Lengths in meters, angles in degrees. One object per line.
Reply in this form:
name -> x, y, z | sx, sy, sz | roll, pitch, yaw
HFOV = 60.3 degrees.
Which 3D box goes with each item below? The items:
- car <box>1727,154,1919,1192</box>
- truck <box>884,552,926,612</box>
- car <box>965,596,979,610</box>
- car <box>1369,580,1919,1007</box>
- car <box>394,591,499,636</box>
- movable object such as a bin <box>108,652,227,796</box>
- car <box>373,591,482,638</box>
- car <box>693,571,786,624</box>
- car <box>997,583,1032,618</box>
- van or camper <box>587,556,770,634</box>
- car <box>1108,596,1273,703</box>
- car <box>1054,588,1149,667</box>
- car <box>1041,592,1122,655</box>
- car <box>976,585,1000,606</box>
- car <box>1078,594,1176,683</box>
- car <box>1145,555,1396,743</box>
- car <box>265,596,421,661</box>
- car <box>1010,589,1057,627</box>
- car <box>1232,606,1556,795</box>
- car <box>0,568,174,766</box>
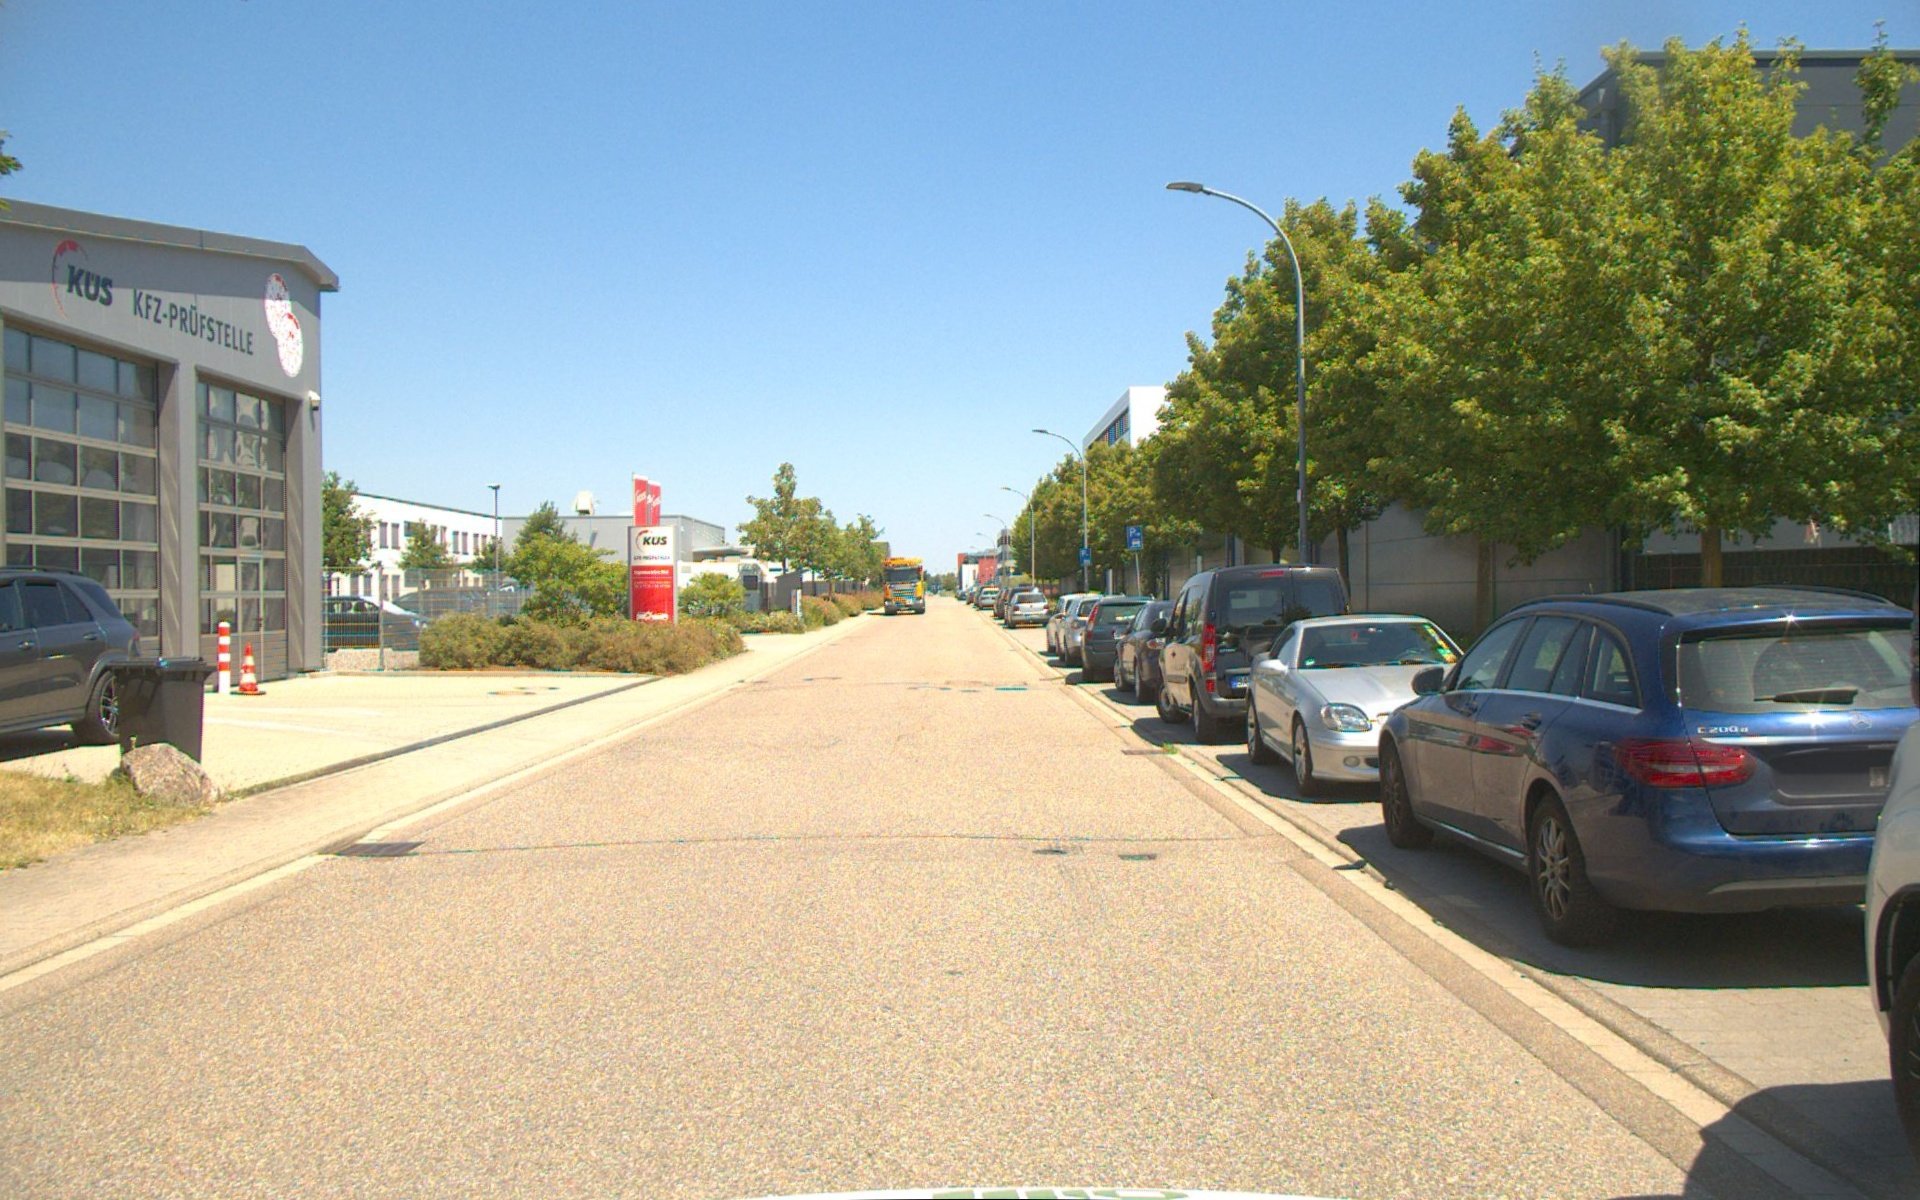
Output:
car -> 3.404, 0.171, 1.938 | 2.220, 2.541, 6.153 | -2, 0, 1
truck -> -3.443, -1.166, 104.794 | 2.399, 3.574, 8.271 | -2, 1, -1
car -> 1.308, 0.308, 179.487 | 1.465, 1.434, 3.499 | -1, 0, -1
car -> 3.461, 0.685, 8.278 | 1.791, 1.520, 4.479 | -2, 0, 1
car -> -22.117, 0.572, 71.315 | 3.906, 1.847, 1.916 | -1, 0, -2
movable object such as a bin -> -6.344, 0.975, 13.267 | 0.567, 1.084, 0.765 | 1, 0, -1
car -> -22.137, 0.596, 68.867 | 3.906, 1.847, 1.916 | -1, 0, -2
car -> -11.447, -0.134, 86.160 | 4.622, 2.631, 1.998 | -1, 0, -5
car -> 2.803, 0.010, 86.068 | 1.686, 1.724, 3.984 | -1, 0, 0
van or camper -> -11.788, -0.213, 69.837 | 7.235, 3.090, 2.789 | -1, 0, -2
car -> 3.417, 0.697, 25.374 | 1.813, 1.456, 4.712 | -1, 0, 0
car -> 3.108, 0.561, 37.150 | 1.712, 1.589, 4.506 | -1, 1, 0
car -> 3.100, 0.569, 42.736 | 1.603, 1.494, 3.743 | -2, 1, -3
car -> 1.919, -0.301, 115.080 | 1.553, 1.434, 3.499 | -1, 0, -1
car -> 3.107, 0.679, 31.387 | 1.673, 1.531, 4.708 | -1, 0, 4
car -> 3.377, 0.500, 18.876 | 1.953, 1.857, 4.353 | -1, 0, -1
car -> -15.790, 0.718, 42.449 | 3.433, 1.579, 1.556 | -1, 0, -6
car -> 3.010, 0.330, 68.111 | 1.683, 1.475, 3.645 | -1, 0, -1
car -> 3.425, 0.738, 13.829 | 1.676, 1.310, 4.115 | -1, -1, 1
car -> -9.588, 0.593, 15.428 | 1.952, 1.765, 4.915 | 1, 1, 3
